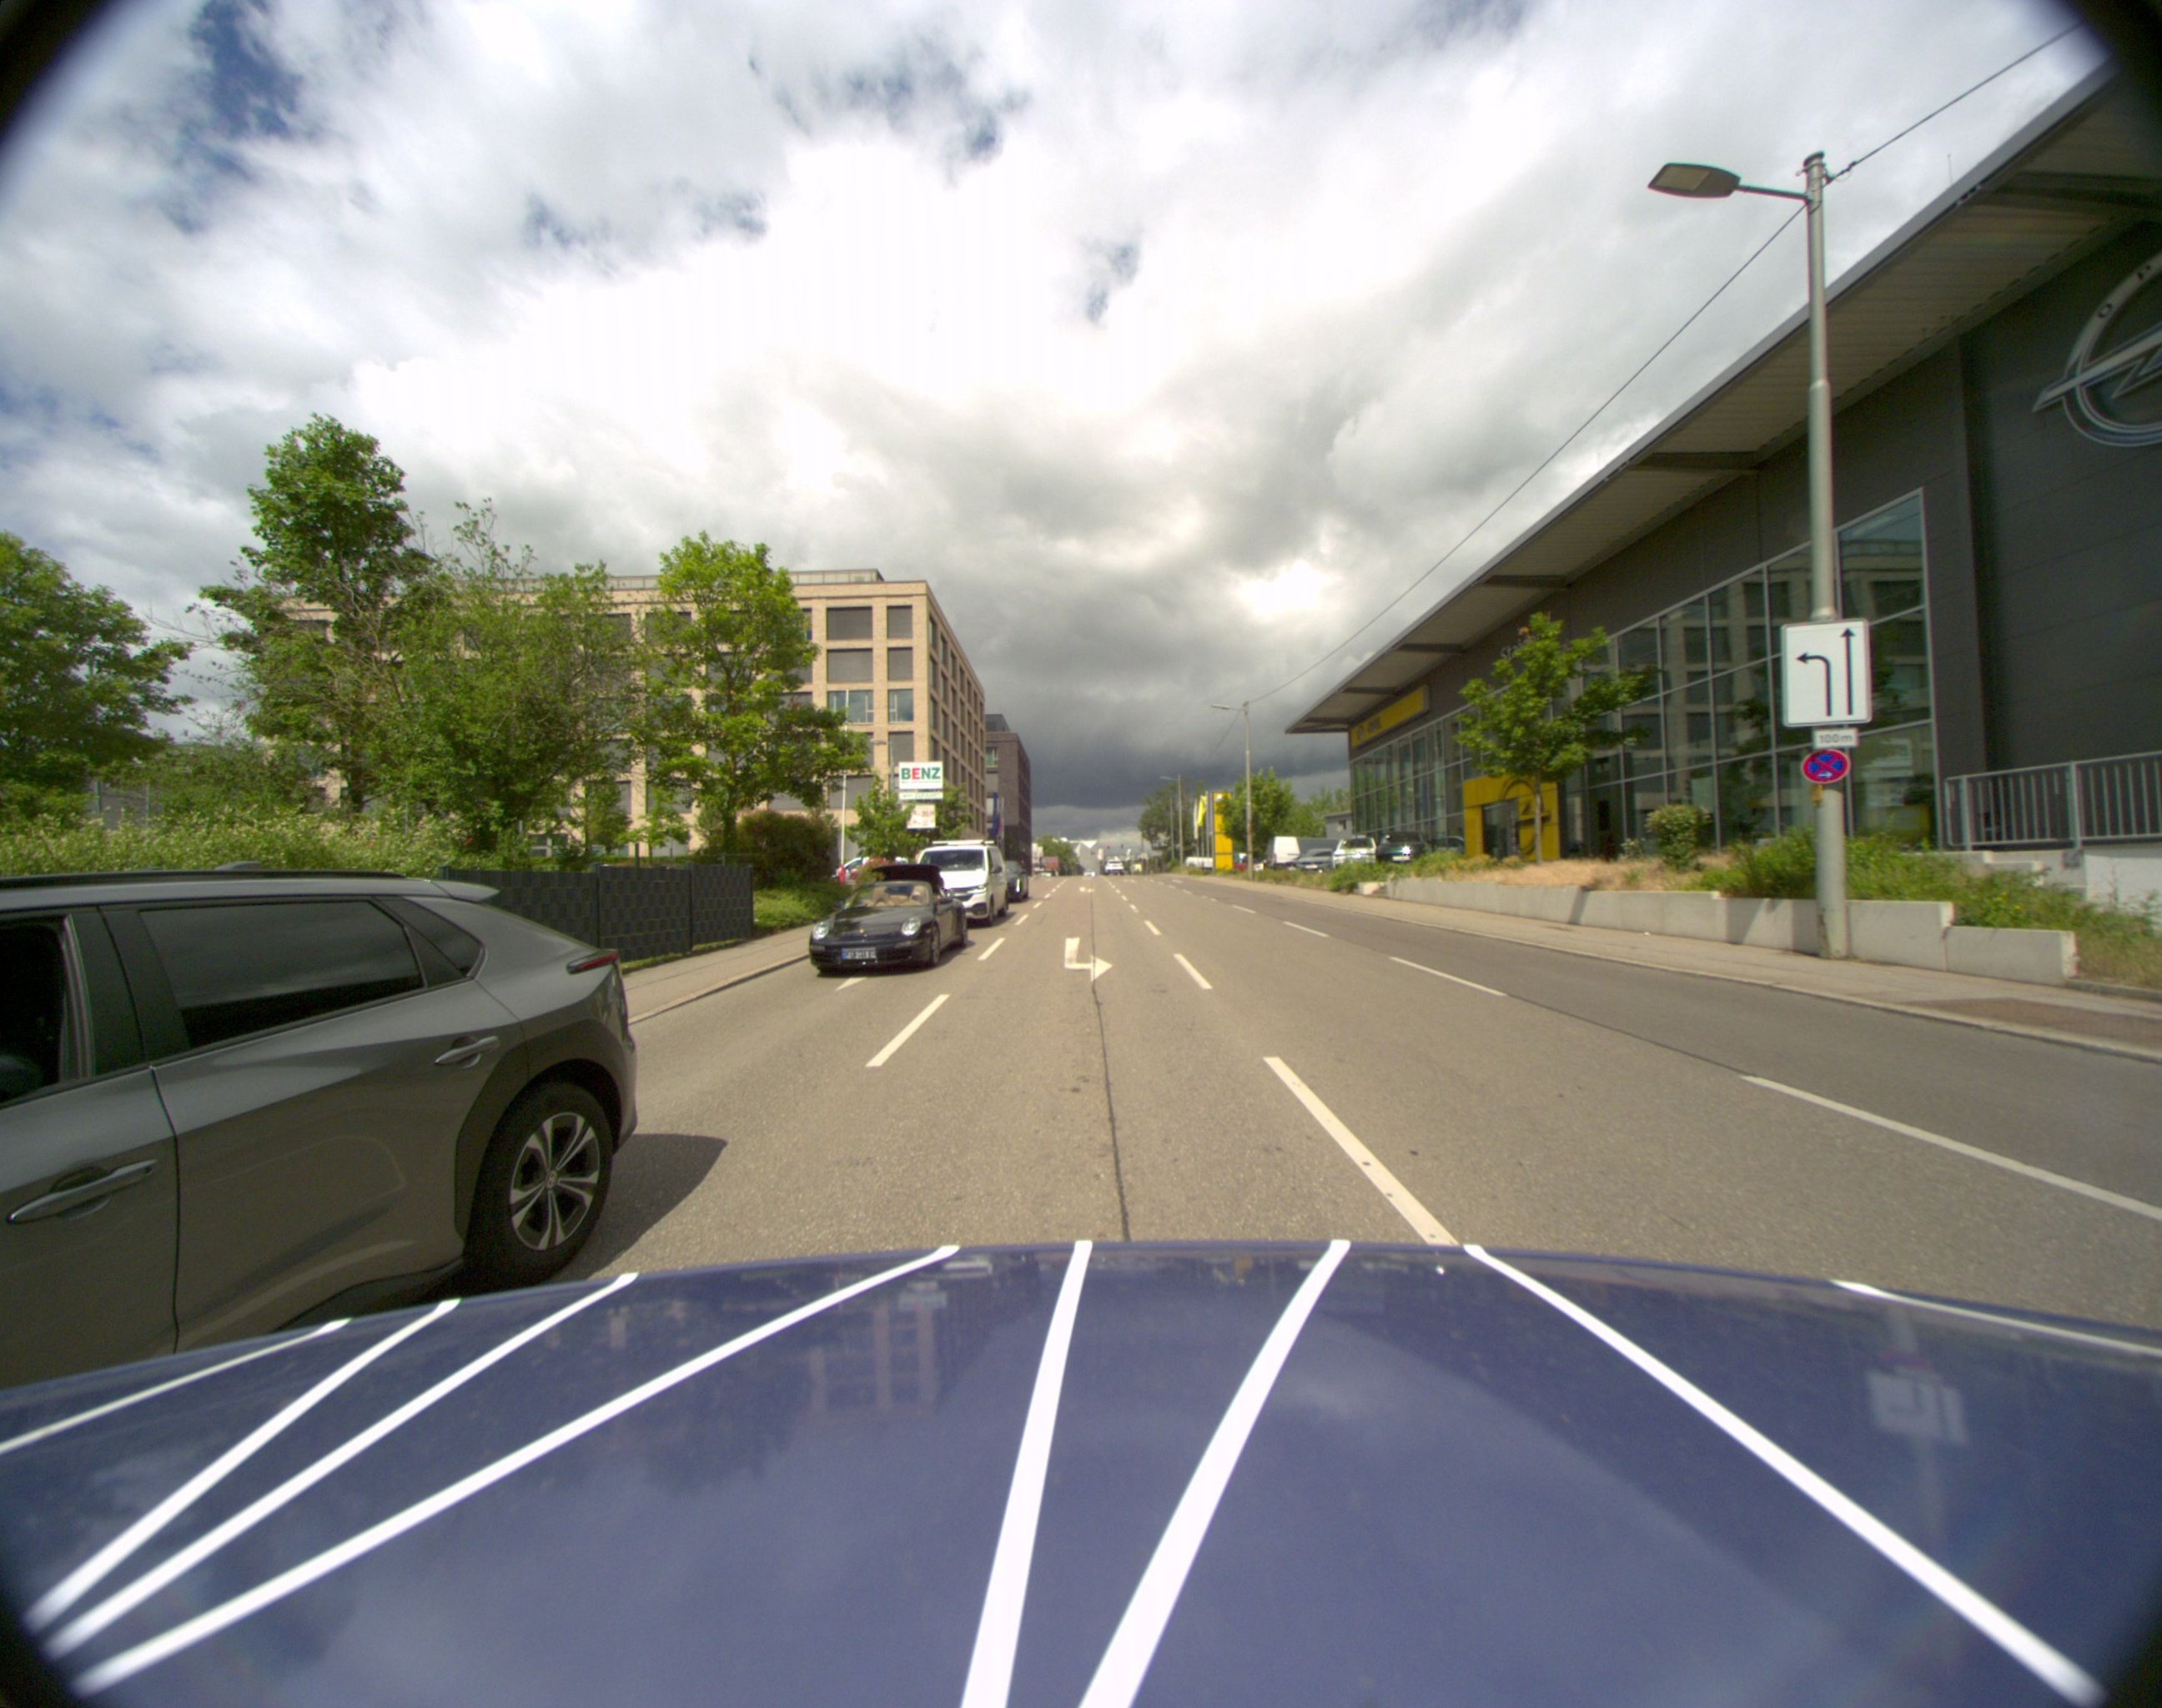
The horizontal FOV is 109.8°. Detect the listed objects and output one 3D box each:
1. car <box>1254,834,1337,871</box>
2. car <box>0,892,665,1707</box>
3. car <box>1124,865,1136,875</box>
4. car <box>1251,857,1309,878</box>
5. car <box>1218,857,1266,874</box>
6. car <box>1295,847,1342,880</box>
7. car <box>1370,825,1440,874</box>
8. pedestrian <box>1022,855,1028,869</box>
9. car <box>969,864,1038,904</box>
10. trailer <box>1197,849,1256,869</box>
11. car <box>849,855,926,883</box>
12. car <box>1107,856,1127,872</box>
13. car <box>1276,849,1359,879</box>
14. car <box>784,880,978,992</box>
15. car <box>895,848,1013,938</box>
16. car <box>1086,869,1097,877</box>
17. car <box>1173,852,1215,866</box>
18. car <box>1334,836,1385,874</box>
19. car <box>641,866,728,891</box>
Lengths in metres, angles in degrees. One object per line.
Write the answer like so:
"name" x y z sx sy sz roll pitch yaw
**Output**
"car" 13.445 -0.108 47.813 4.532 2.182 2.179 -1 1 -3
"car" -2.996 1.021 1.255 1.924 1.604 4.683 -3 0 1
"car" 8.410 2.738 130.523 1.762 1.513 3.960 -1 0 8
"car" 14.956 1.019 57.287 3.946 1.518 1.561 -1 0 -2
"car" 13.700 0.979 64.797 3.669 1.401 1.815 -1 0 2
"car" 12.211 0.459 38.925 1.794 1.604 4.116 -1 0 24
"car" 12.350 -0.147 28.825 1.817 1.603 4.117 -4 -2 30
"pedestrian" -6.265 0.885 85.158 0.578 1.497 0.542 -1 1 1
"car" -2.781 1.046 28.198 1.777 1.267 4.569 -1 0 4
"trailer" 13.140 0.417 68.682 4.835 1.742 2.095 -1 0 -3
"car" -11.561 0.897 45.526 4.220 1.567 1.735 -1 0 -4
"car" 3.750 1.045 79.638 1.924 1.604 4.416 1 0 1
"car" 13.330 0.571 43.014 4.108 1.604 1.797 -1 0 -8
"car" -2.965 1.166 12.369 1.777 1.267 4.569 -3 0 2
"car" -2.935 0.853 18.637 1.964 1.840 4.645 -3 0 1
"car" 1.961 3.465 140.189 1.866 1.398 4.000 -1 0 1
"car" 12.519 0.540 84.332 4.252 1.473 2.095 -1 0 -2
"car" 12.392 0.026 33.654 1.793 1.604 4.115 -1 1 25
"car" -23.383 1.442 44.876 4.219 1.410 1.735 -1 0 -1
